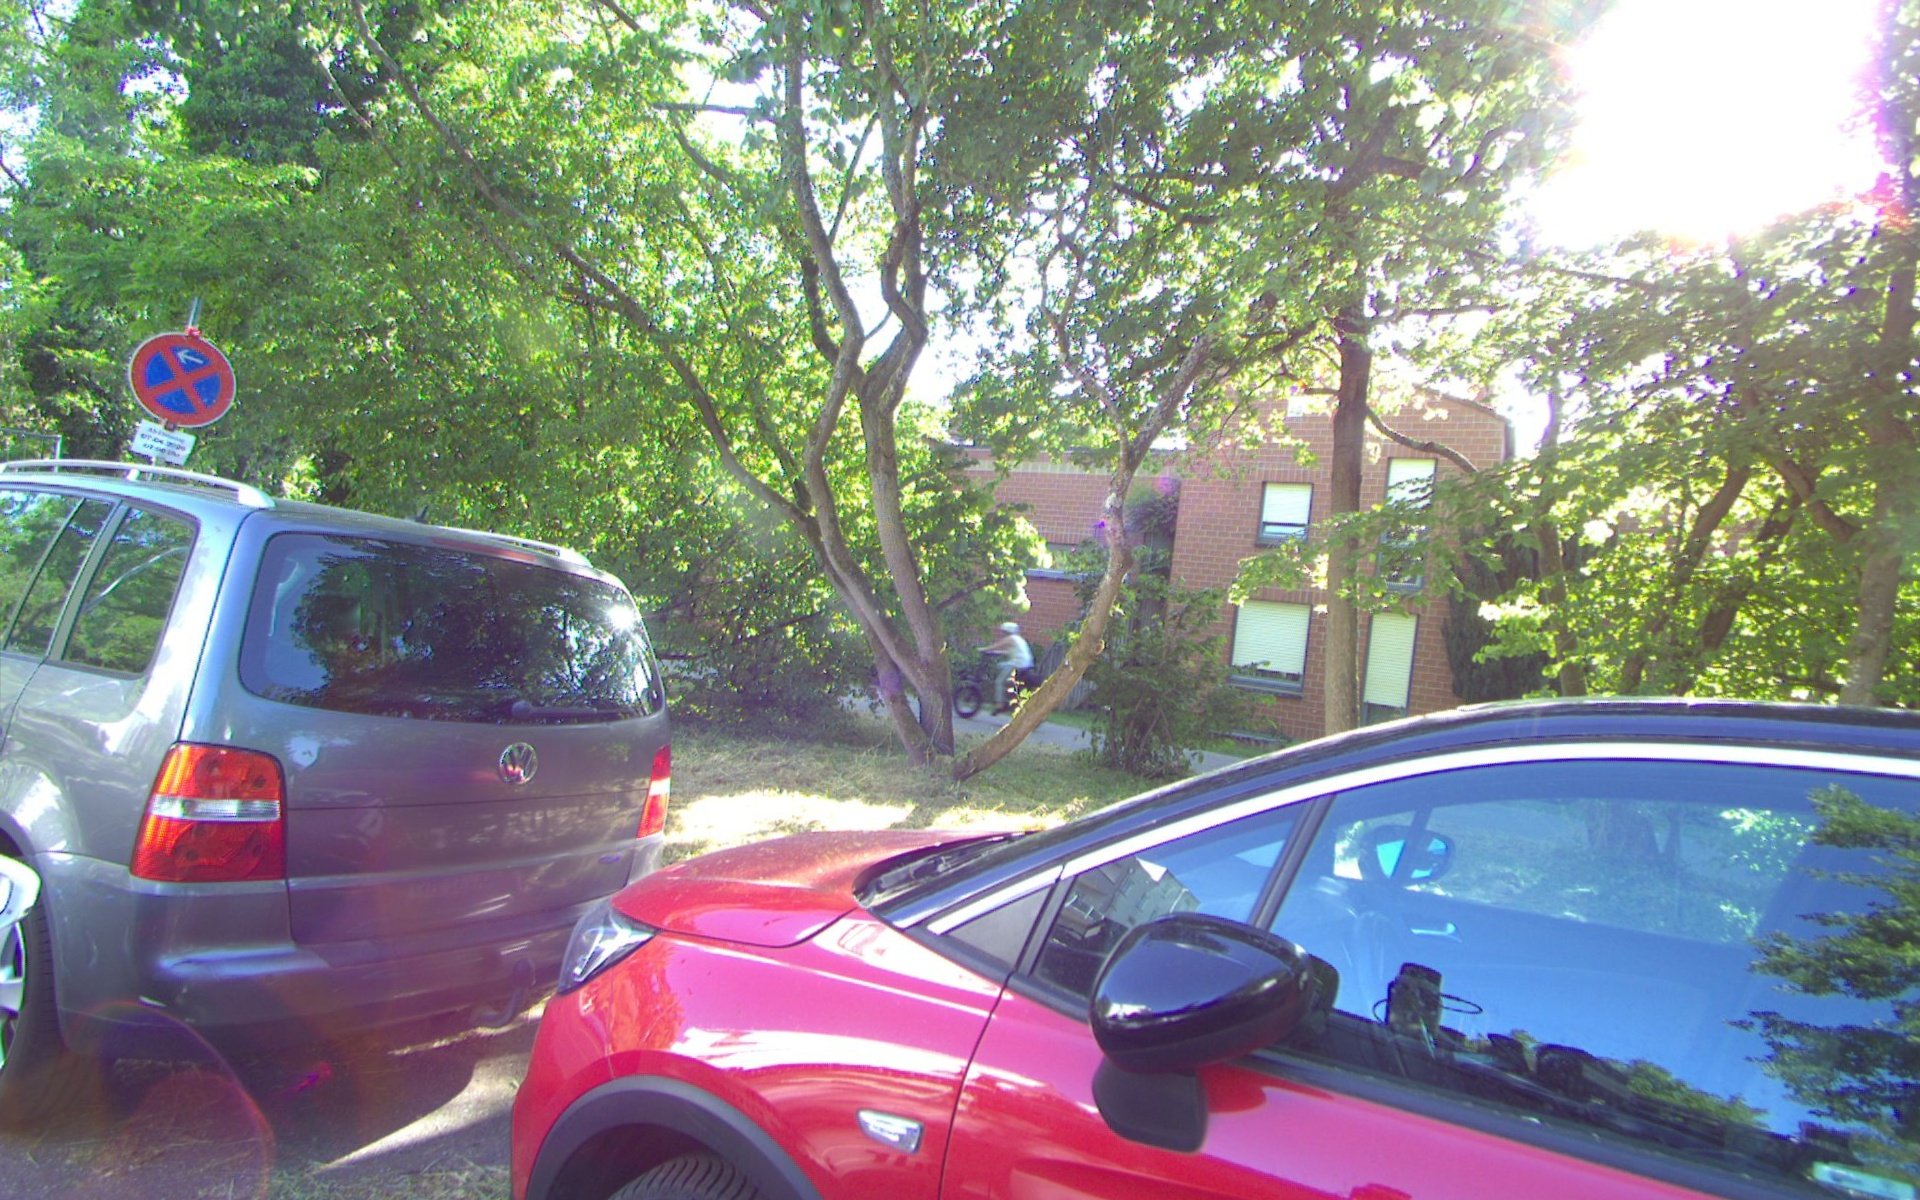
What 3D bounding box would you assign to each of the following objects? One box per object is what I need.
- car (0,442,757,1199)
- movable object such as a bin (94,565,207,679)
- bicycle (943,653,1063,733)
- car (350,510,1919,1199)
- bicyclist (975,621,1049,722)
[{"bbox_3d":[-2.957,0.409,3.733,4.067,1.640,1.683,7,-2,30],"label":"car"},{"bbox_3d":[-6.830,0.191,8.493,0.550,0.871,0.485,7,-1,28],"label":"movable object such as a bin"},{"bbox_3d":[0.691,1.511,16.477,1.755,1.052,0.633,7,-1,30],"label":"bicycle"},{"bbox_3d":[1.012,0.907,1.597,3.999,1.592,1.682,7,-2,32],"label":"car"},{"bbox_3d":[0.854,1.171,16.410,0.826,1.517,0.633,7,-1,30],"label":"bicyclist"}]
